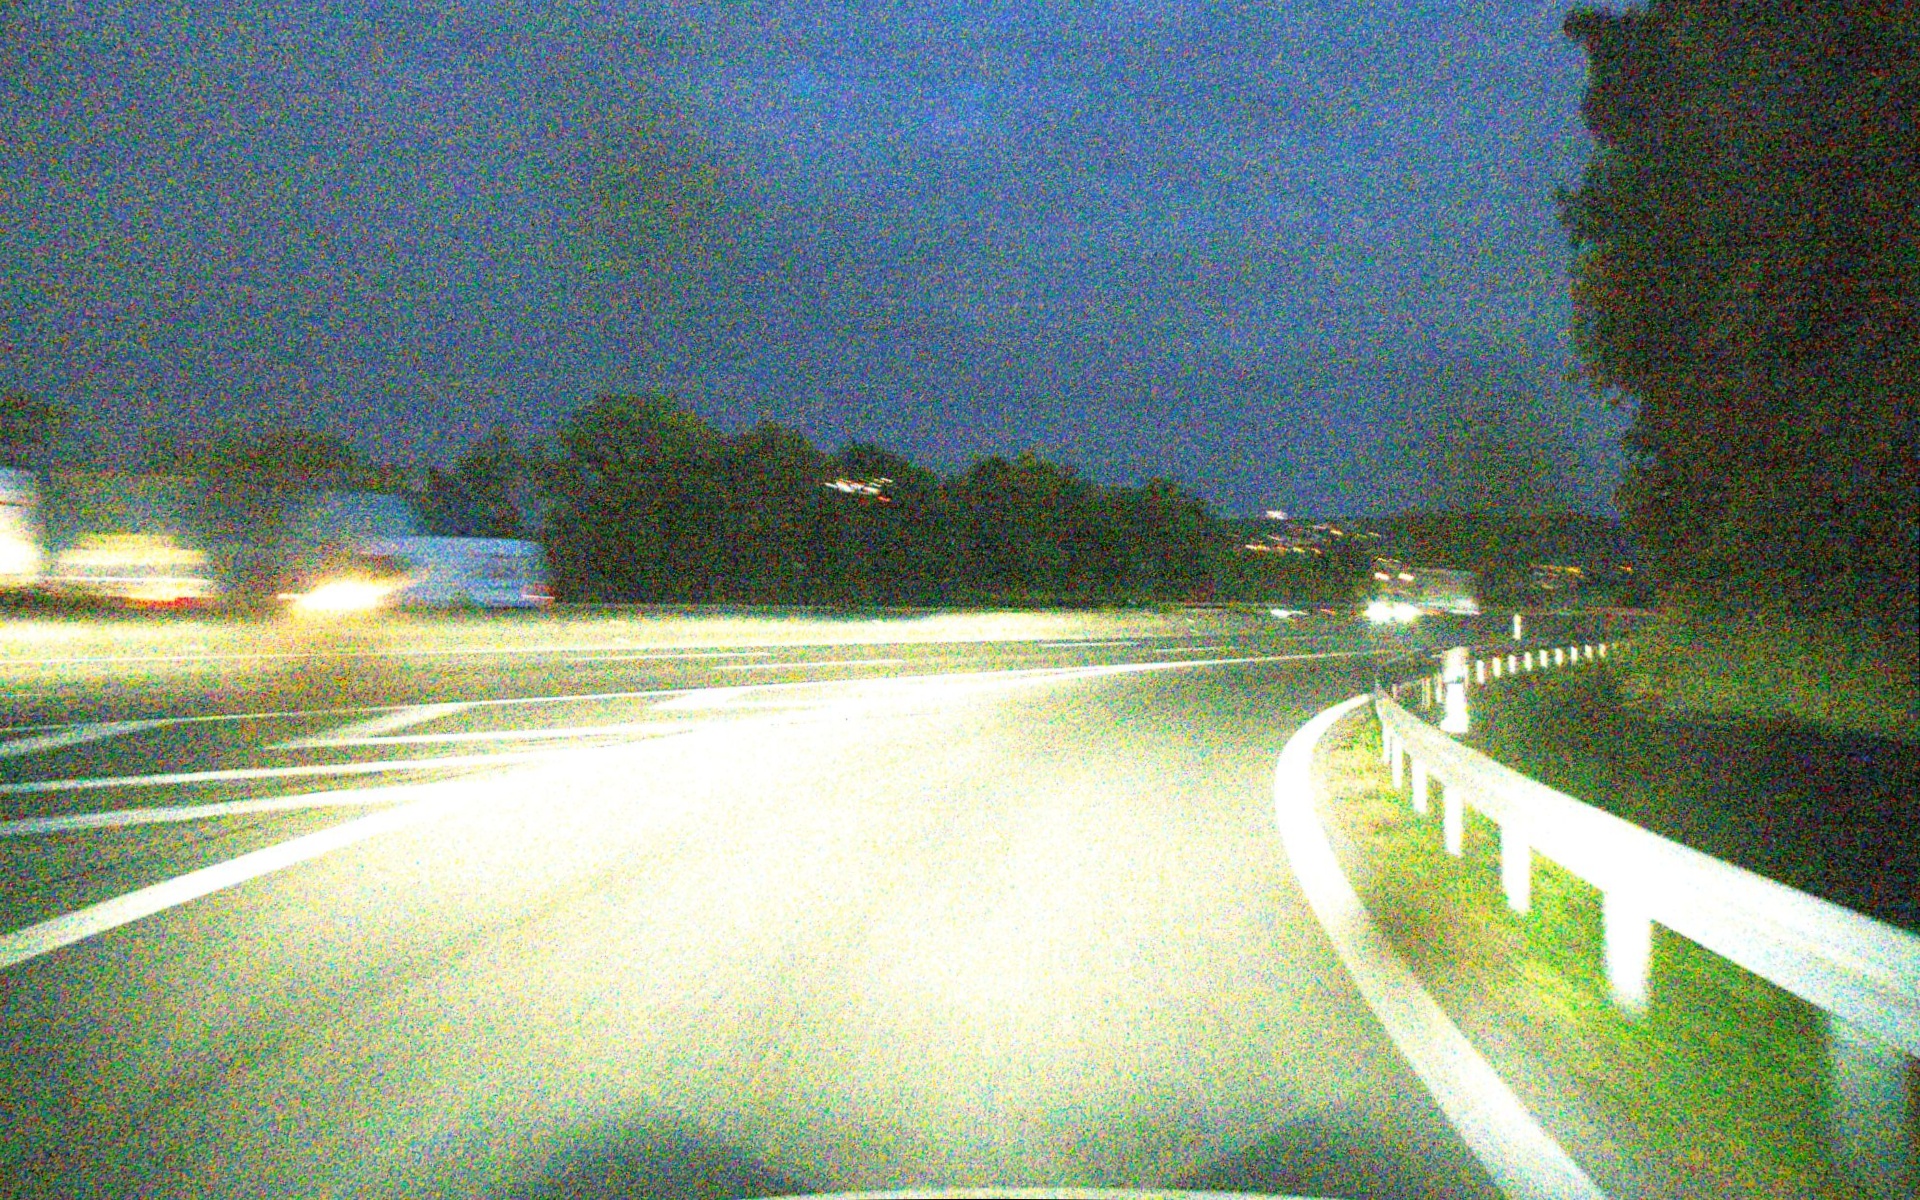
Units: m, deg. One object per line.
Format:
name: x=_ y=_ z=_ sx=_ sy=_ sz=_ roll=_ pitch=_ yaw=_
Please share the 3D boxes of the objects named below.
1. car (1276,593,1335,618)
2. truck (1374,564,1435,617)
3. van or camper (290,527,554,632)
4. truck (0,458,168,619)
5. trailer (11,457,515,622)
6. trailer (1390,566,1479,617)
car: x=20.946 y=0.341 z=100.217 sx=1.960 sy=1.449 sz=4.354 roll=2 pitch=1 yaw=35
truck: x=33.962 y=-0.684 z=126.251 sx=2.711 sy=3.867 sz=5.944 roll=2 pitch=0 yaw=34
van or camper: x=-14.183 y=-0.487 z=44.253 sx=1.957 sy=2.594 sz=7.167 roll=1 pitch=0 yaw=31
truck: x=-22.387 y=-1.411 z=39.246 sx=2.708 sy=3.658 sz=5.949 roll=1 pitch=0 yaw=31
trailer: x=-18.445 y=-1.373 z=45.601 sx=2.709 sy=3.883 sz=13.724 roll=1 pitch=0 yaw=32
trailer: x=38.100 y=-0.637 z=132.448 sx=2.711 sy=3.867 sz=13.716 roll=2 pitch=0 yaw=34
